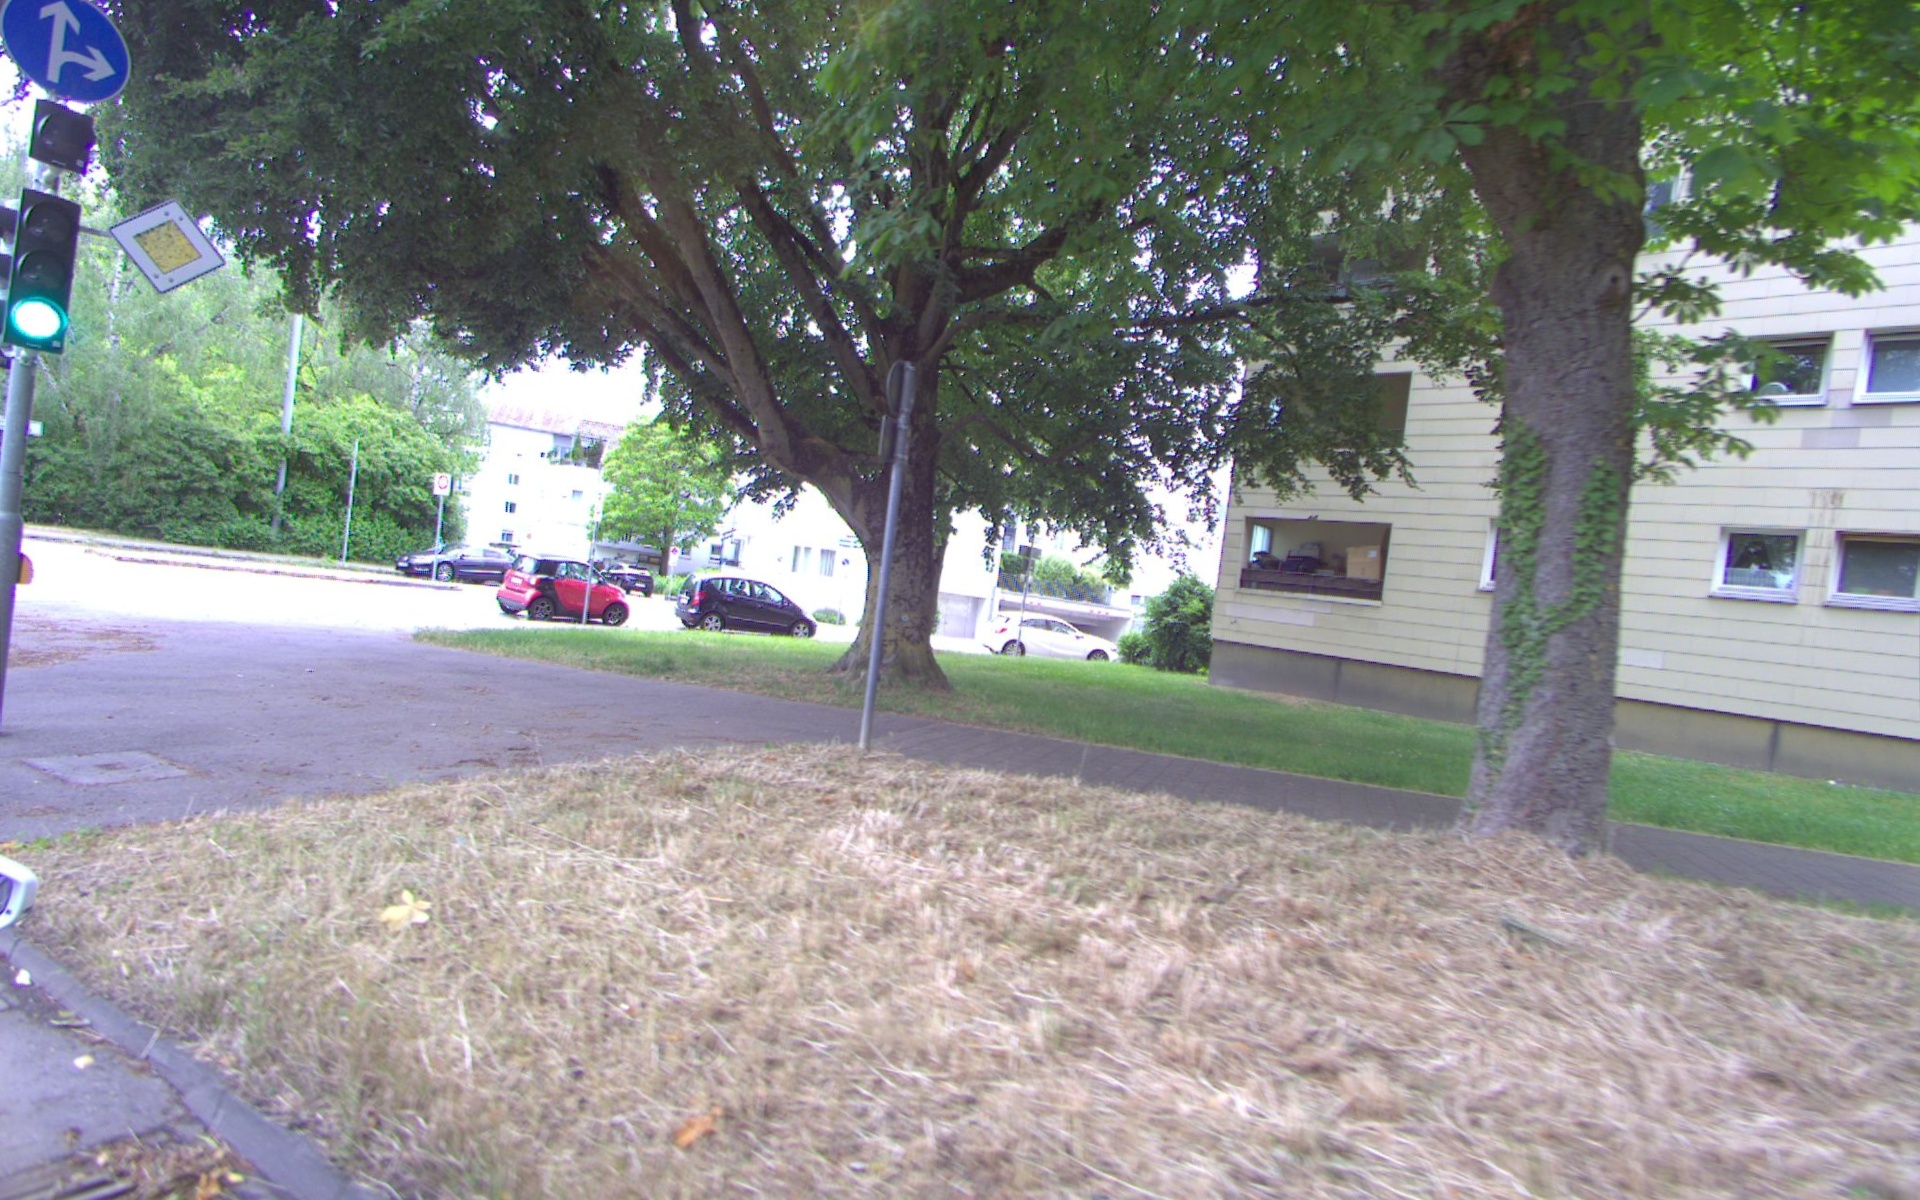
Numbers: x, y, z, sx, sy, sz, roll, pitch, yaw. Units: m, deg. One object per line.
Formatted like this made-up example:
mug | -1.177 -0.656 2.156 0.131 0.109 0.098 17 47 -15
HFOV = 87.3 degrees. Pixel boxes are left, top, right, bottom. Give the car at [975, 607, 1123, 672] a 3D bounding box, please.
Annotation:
car | 2.684 1.186 30.565 4.006 1.452 1.789 6 1 -14

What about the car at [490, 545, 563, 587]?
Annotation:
car | -19.245 -1.514 44.635 1.796 1.505 3.626 7 -1 -42

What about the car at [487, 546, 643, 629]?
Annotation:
car | -9.412 -0.272 24.108 1.670 1.524 2.912 8 0 37

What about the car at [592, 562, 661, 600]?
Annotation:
car | -17.270 -1.013 52.001 1.921 1.563 4.018 7 -1 -41

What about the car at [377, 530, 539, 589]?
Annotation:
car | -17.714 -1.394 35.765 2.003 1.456 4.796 7 0 27

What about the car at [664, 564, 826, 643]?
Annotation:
car | -5.803 0.101 27.302 3.788 1.610 1.803 8 -1 -33
